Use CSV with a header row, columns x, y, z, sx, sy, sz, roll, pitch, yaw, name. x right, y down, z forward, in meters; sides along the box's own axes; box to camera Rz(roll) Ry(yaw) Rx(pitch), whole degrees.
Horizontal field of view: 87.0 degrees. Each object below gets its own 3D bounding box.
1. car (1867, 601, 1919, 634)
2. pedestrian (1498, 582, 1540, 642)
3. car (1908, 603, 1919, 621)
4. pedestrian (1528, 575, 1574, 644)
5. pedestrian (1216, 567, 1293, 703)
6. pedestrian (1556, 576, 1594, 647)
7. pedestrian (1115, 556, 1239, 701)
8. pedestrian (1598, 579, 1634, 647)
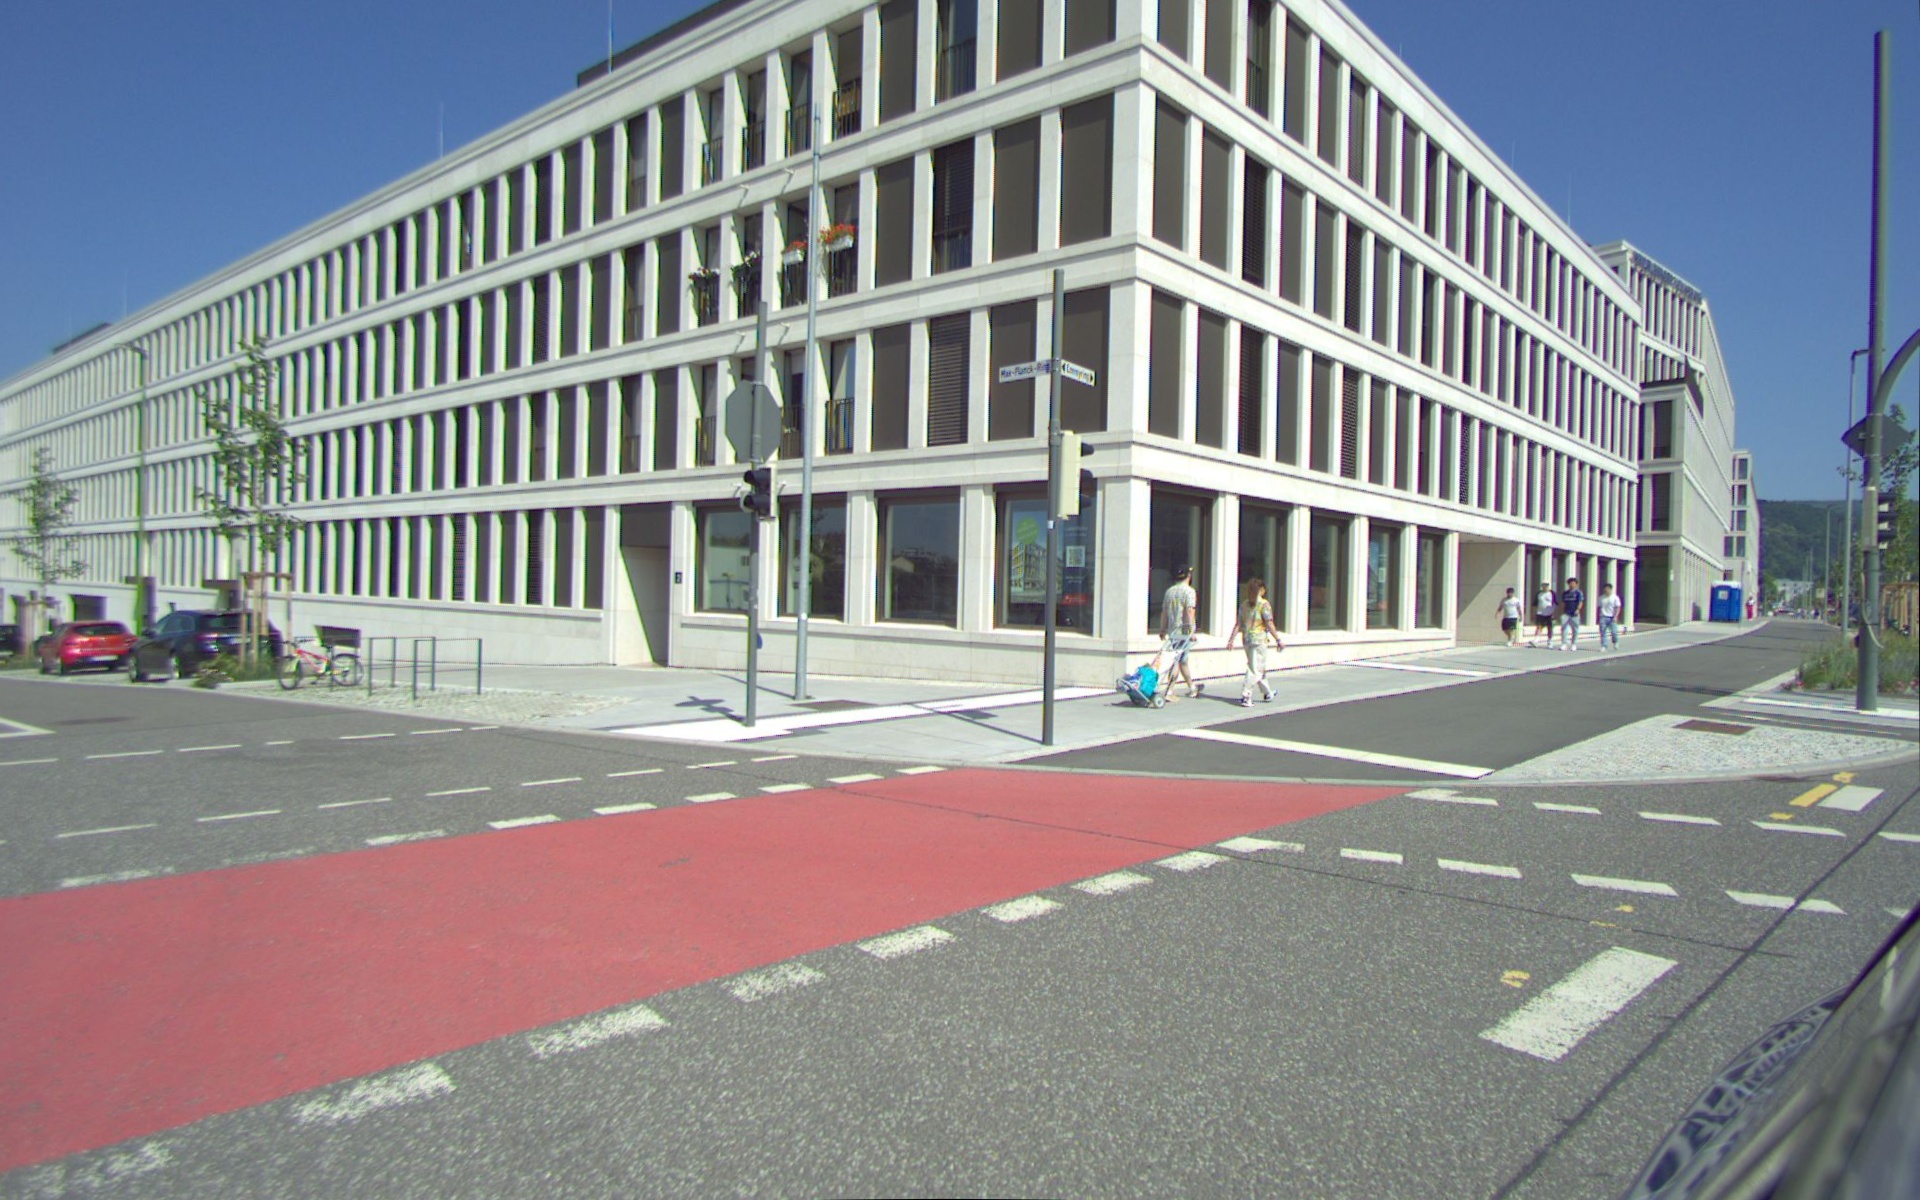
x,y,z,sx,sy,sz,roll,pitch,yaw,name
45.802,0.836,49.588,1.806,1.527,3.935,0,0,45,car
15.052,0.304,27.243,0.829,1.585,0.769,-1,2,-45,pedestrian
88.744,1.087,93.344,1.777,1.581,3.773,-1,-1,42,car
15.698,0.234,26.888,0.912,1.806,0.825,-1,2,-45,pedestrian
3.935,0.441,13.537,0.783,1.745,0.700,0,1,-43,pedestrian
15.728,0.281,25.879,0.577,1.762,0.981,2,2,45,pedestrian
2.969,0.360,13.784,1.637,1.849,0.878,0,0,-44,pedestrian
17.185,0.329,26.503,0.577,1.741,0.981,2,2,45,pedestrian
